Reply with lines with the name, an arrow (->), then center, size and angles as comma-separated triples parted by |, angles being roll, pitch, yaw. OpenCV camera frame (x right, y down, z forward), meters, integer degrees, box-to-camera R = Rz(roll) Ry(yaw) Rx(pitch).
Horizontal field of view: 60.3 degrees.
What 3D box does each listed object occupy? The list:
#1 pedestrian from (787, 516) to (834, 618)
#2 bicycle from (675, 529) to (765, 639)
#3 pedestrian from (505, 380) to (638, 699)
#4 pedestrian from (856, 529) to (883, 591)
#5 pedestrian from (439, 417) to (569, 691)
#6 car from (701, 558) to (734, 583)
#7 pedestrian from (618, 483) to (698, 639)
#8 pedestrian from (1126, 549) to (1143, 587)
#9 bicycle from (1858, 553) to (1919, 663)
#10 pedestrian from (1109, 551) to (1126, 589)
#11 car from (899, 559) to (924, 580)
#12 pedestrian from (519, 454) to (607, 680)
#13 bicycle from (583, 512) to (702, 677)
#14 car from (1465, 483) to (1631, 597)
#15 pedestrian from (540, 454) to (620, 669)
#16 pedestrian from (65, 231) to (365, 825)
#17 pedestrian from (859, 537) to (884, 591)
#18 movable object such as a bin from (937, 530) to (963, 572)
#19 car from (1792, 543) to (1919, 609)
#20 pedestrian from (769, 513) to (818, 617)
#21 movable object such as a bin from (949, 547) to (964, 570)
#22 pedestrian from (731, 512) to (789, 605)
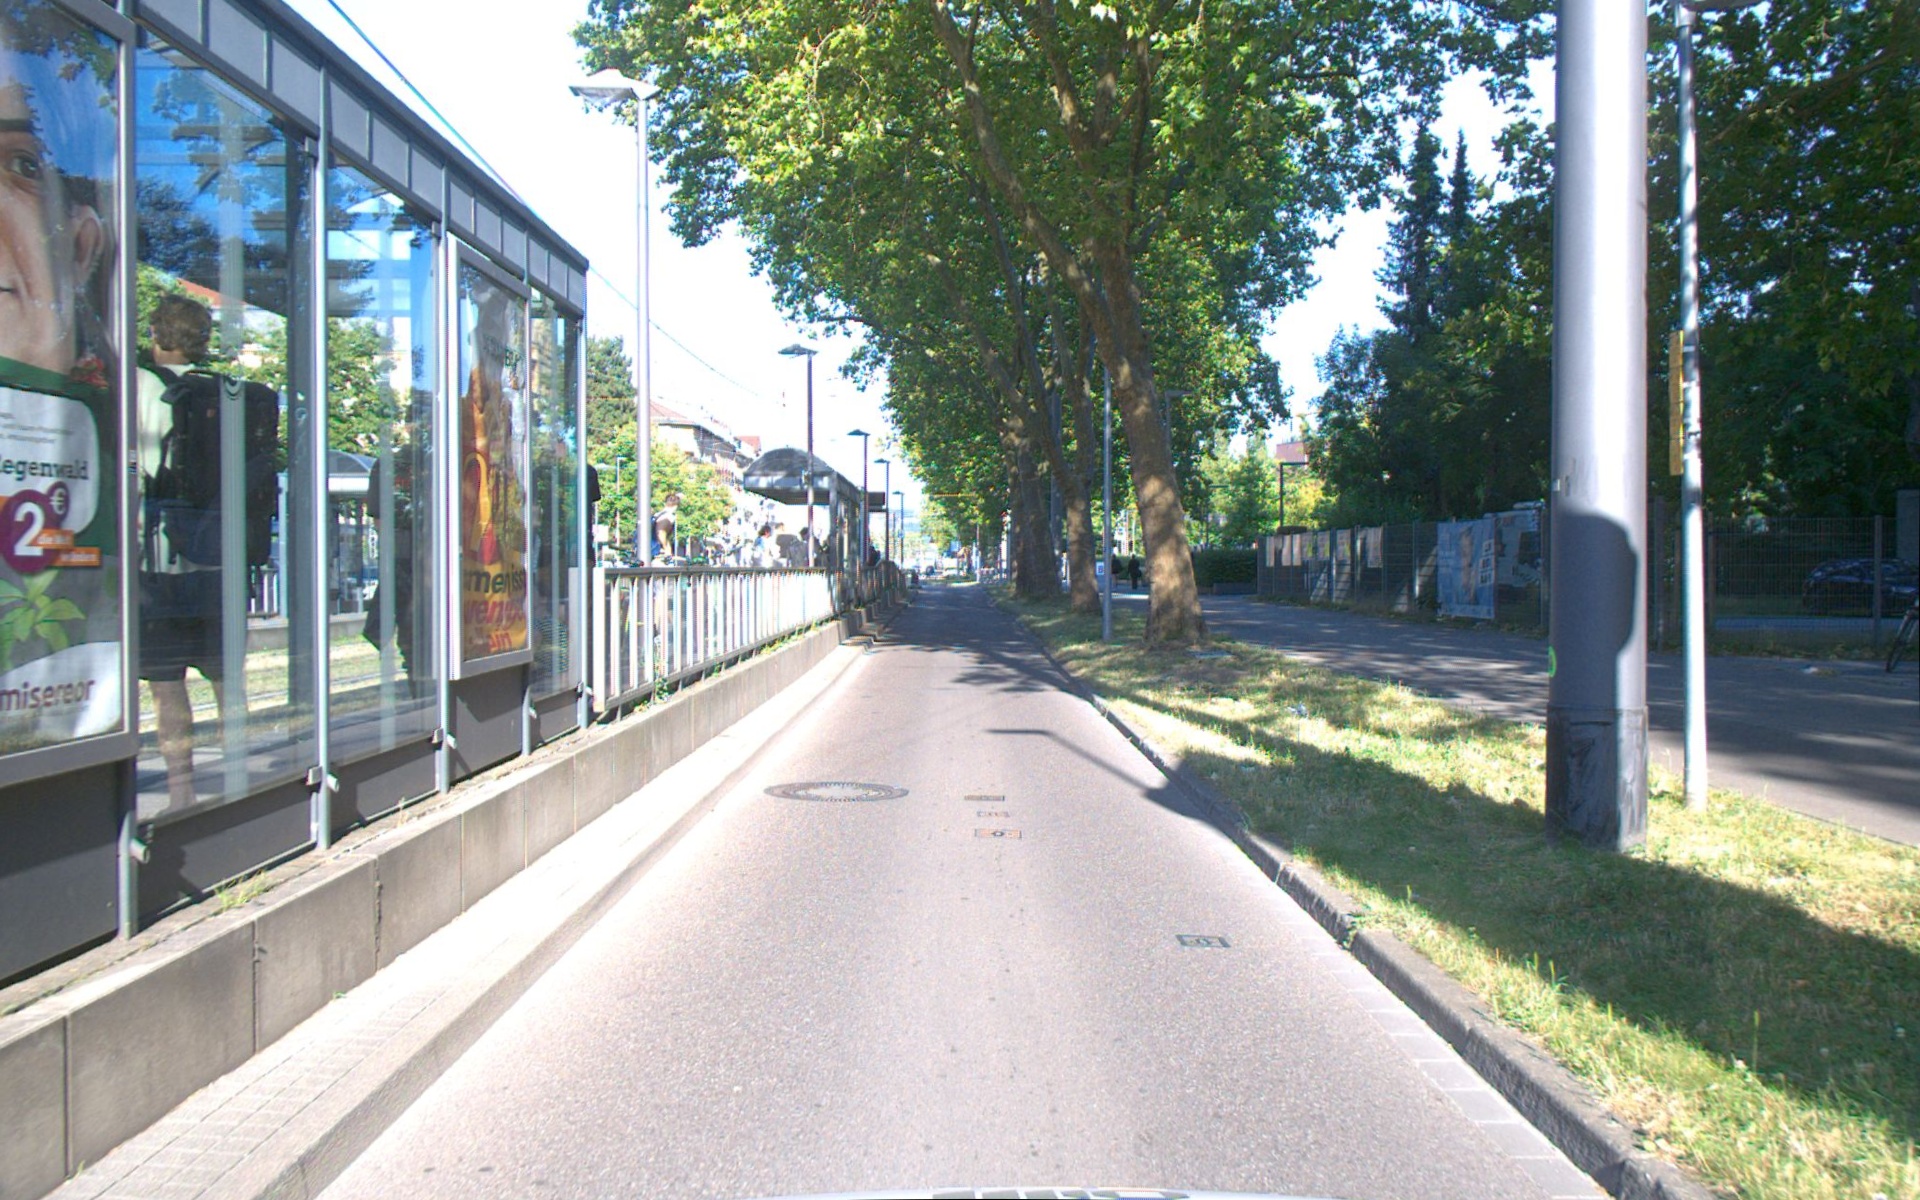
pedestrian -> -2.664, -0.588, 29.514 | 0.749, 1.789, 0.695 | 2, 1, -1
bicycle -> -2.690, -0.195, 18.737 | 0.722, 1.153, 2.030 | 2, 1, -1
pedestrian -> -2.578, -0.398, 11.042 | 0.586, 2.031, 0.825 | 2, 1, 5
pedestrian -> -2.544, -1.129, 46.699 | 0.665, 1.719, 0.894 | 2, 1, -1
pedestrian -> -3.176, -0.321, 11.571 | 0.586, 1.831, 0.825 | 2, 1, 5
car -> -18.991, -2.338, 129.704 | 1.825, 1.837, 4.028 | 2, 1, 1
pedestrian -> -3.580, -0.462, 19.658 | 0.769, 1.801, 0.773 | 2, 1, -1
pedestrian -> 7.826, -1.422, 74.220 | 0.636, 1.685, 0.783 | -1, 1, -1
bicycle -> 10.818, 0.091, 18.249 | 0.773, 1.198, 1.820 | 2, 1, -1
pedestrian -> 7.067, -1.358, 74.278 | 0.615, 1.685, 0.740 | -1, 1, -1
car -> -4.150, -2.653, 141.585 | 1.953, 1.713, 4.000 | 2, 1, -1
pedestrian -> -3.147, -0.260, 13.148 | 0.538, 1.737, 0.599 | 2, 1, -4
bicycle -> -2.413, -0.062, 12.767 | 0.502, 1.153, 2.103 | 2, 1, -1
car -> 14.413, -1.440, 41.026 | 1.952, 2.542, 6.348 | 2, 1, 2
pedestrian -> -3.177, -0.318, 13.850 | 0.496, 1.737, 0.729 | 2, 1, -4
pedestrian -> -2.603, -0.243, 5.862 | 0.656, 1.935, 0.824 | 2, 1, -2
pedestrian -> -2.873, -1.168, 53.913 | 0.741, 1.719, 0.678 | 2, 1, -1
movable object such as a bin -> -1.339, -6.299, 214.062 | 3.025, 5.176, 8.891 | -3, 1, -1
car -> 22.149, -0.574, 39.852 | 1.954, 1.478, 3.997 | 2, 1, -4
pedestrian -> -2.613, -0.556, 26.030 | 0.664, 1.589, 0.851 | 2, 1, -1
movable object such as a bin -> -0.575, -5.936, 236.250 | 1.928, 3.065, 4.796 | -3, 1, -1
pedestrian -> -3.871, -0.798, 32.057 | 0.900, 1.751, 0.624 | 1, 1, -34
